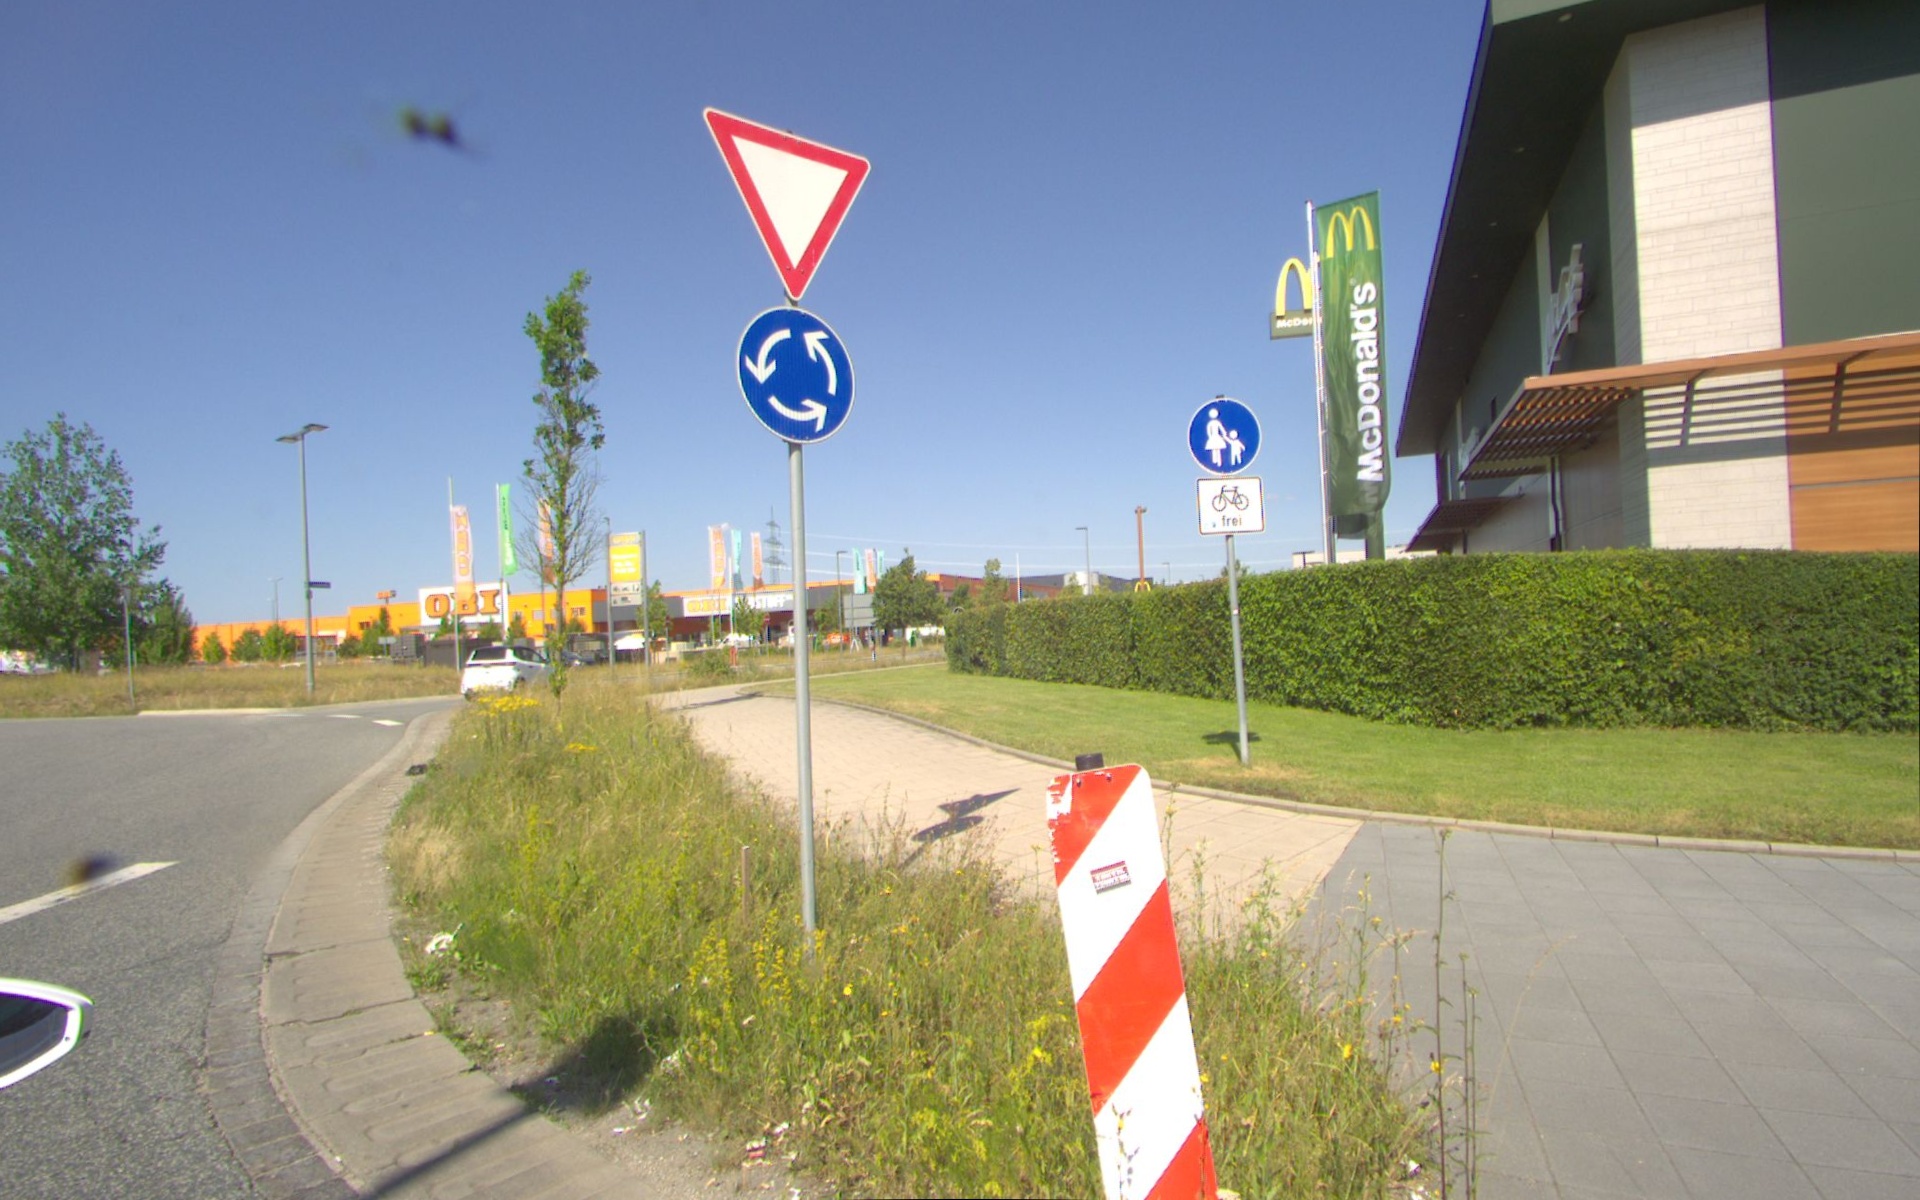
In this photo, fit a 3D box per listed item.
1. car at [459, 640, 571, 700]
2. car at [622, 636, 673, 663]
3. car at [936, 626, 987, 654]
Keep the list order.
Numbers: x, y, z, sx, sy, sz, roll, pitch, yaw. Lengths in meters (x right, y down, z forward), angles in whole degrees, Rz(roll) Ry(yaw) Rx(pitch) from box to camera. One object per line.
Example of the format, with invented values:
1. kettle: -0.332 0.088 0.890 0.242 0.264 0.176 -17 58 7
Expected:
1. car: -12.319 1.900 27.924 1.485 1.459 3.351 -2 -1 3
2. car: -22.569 3.583 72.481 1.670 1.863 3.771 -3 -3 18
3. car: 0.115 2.531 63.292 1.801 1.604 4.158 -3 -1 21
